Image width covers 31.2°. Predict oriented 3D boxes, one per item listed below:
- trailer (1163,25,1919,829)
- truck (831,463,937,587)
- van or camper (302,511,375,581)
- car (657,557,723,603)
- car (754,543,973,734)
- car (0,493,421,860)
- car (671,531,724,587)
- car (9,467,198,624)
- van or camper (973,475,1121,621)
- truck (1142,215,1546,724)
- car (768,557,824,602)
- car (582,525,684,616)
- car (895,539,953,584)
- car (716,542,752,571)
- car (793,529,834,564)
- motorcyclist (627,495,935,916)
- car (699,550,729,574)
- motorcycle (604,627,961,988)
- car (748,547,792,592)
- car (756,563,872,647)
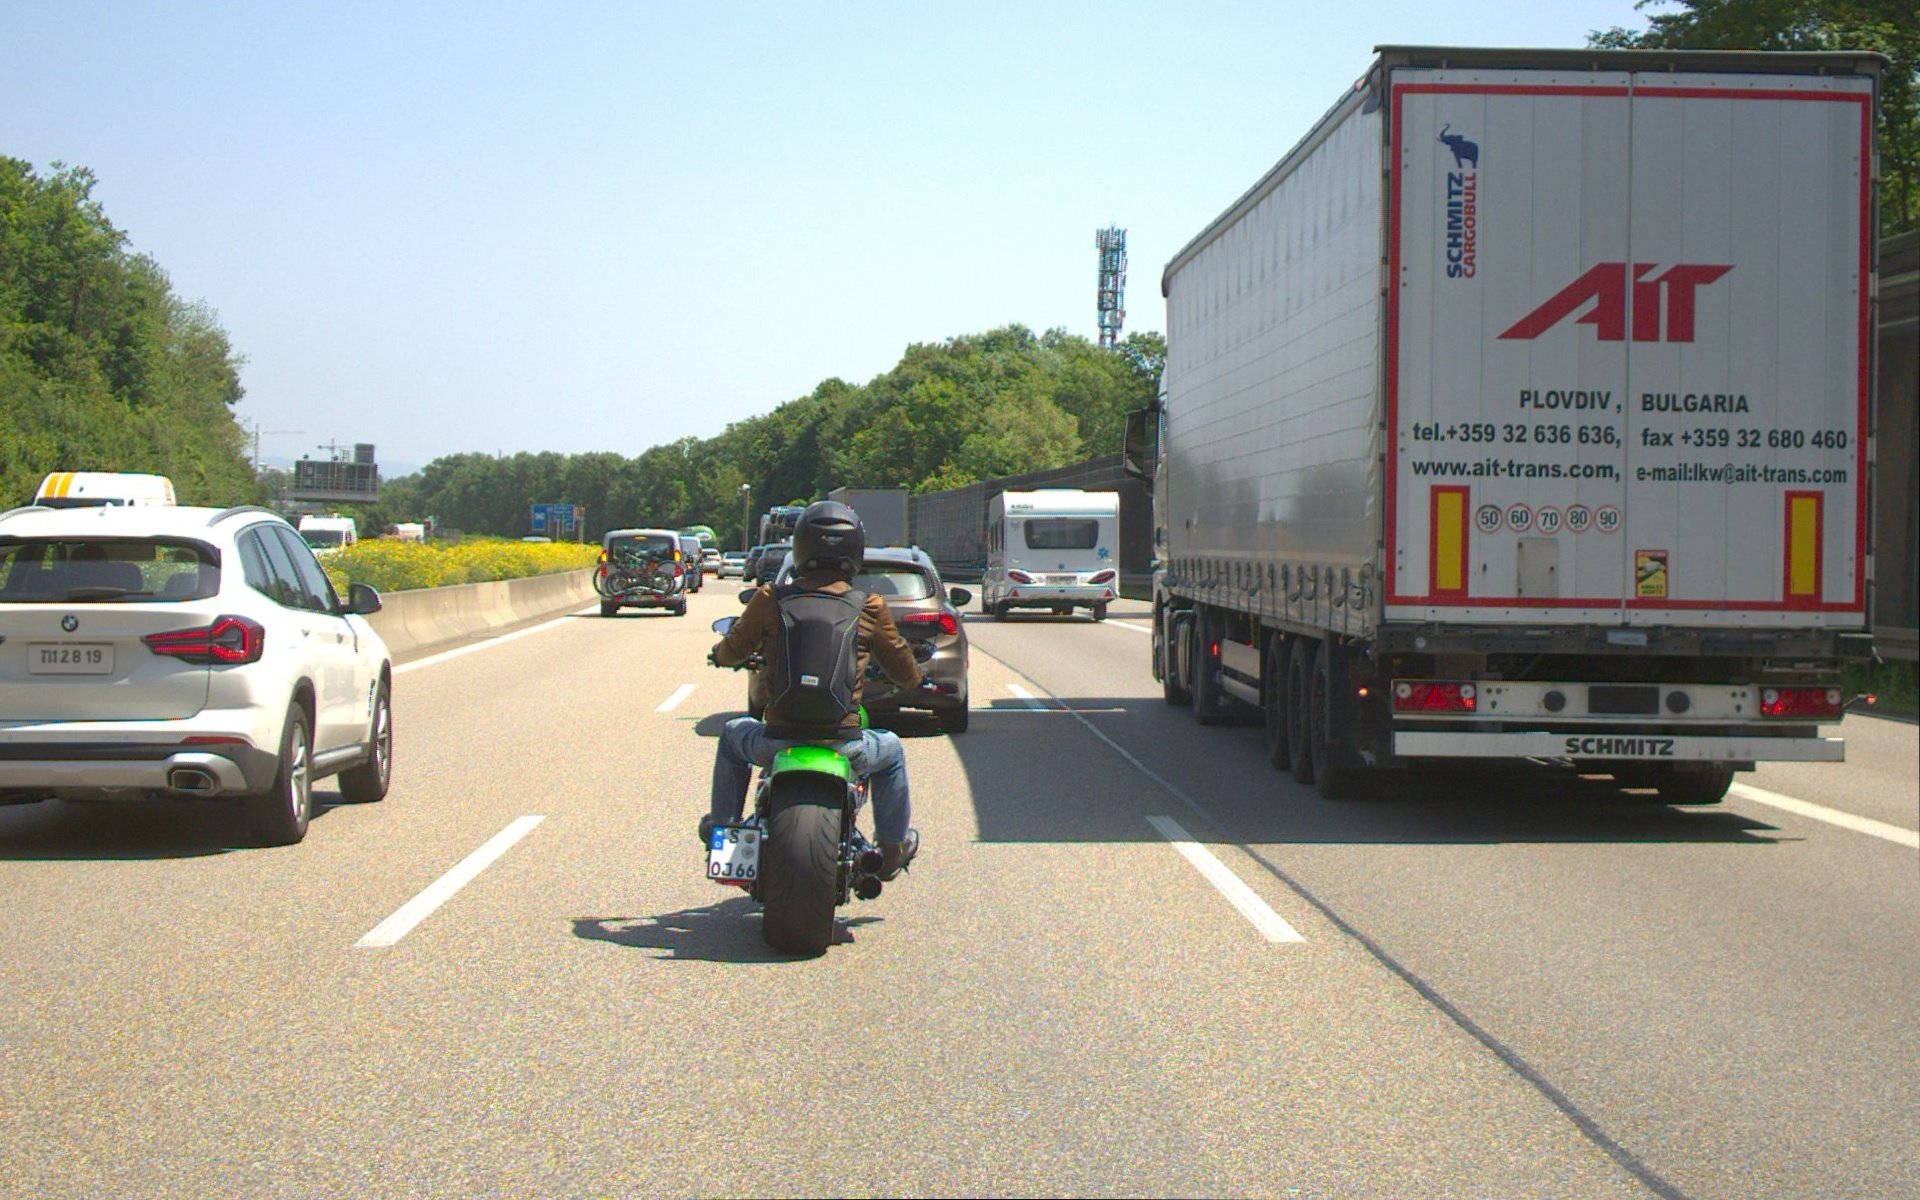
[{"bbox_3d":[3.373,-0.965,24.243,2.885,4.025,13.796,1,1,-1],"label":"trailer"},{"bbox_3d":[-3.256,-3.053,144.013,3.802,4.943,8.952,1,0,-5],"label":"truck"},{"bbox_3d":[-24.908,-2.165,137.956,2.085,2.692,6.153,1,1,-3],"label":"van or camper"},{"bbox_3d":[-8.515,-0.621,108.807,1.993,1.382,4.000,1,0,-3],"label":"car"},{"bbox_3d":[-0.776,0.302,28.353,1.662,1.448,3.869,1,0,-1],"label":"car"},{"bbox_3d":[-4.165,0.323,18.377,1.864,1.688,4.956,0,1,-1],"label":"car"},{"bbox_3d":[-9.796,-1.506,128.309,1.791,2.007,3.642,1,0,-2],"label":"car"},{"bbox_3d":[-16.696,-1.071,67.450,2.068,2.886,7.463,1,1,-2],"label":"car"},{"bbox_3d":[1.705,-0.998,70.119,2.685,2.803,6.803,1,0,-1],"label":"van or camper"},{"bbox_3d":[3.299,-1.109,31.123,2.885,4.132,5.986,1,1,-1],"label":"truck"},{"bbox_3d":[-6.161,-0.759,128.790,1.993,1.634,4.000,1,0,-4],"label":"car"},{"bbox_3d":[-6.919,-0.604,73.068,1.899,1.867,4.413,1,0,-2],"label":"car"},{"bbox_3d":[-1.328,-1.393,124.945,1.993,1.569,4.000,1,0,-2],"label":"car"},{"bbox_3d":[-12.059,-2.300,183.173,1.832,1.491,3.744,1,0,-5],"label":"car"},{"bbox_3d":[-8.277,-3.013,193.901,2.107,1.870,4.001,1,0,-5],"label":"car"},{"bbox_3d":[-0.638,0.372,13.026,0.900,1.470,1.871,1,0,5],"label":"motorcyclist"},{"bbox_3d":[-15.730,-2.416,219.963,1.832,1.491,3.744,1,0,-5],"label":"car"},{"bbox_3d":[-0.606,0.716,13.111,0.965,1.144,2.811,1,1,5],"label":"motorcycle"},{"bbox_3d":[-8.845,-1.396,159.738,1.911,2.007,3.691,1,0,-5],"label":"car"},{"bbox_3d":[-2.585,0.099,61.142,1.993,1.425,3.847,1,0,-2],"label":"car"}]
